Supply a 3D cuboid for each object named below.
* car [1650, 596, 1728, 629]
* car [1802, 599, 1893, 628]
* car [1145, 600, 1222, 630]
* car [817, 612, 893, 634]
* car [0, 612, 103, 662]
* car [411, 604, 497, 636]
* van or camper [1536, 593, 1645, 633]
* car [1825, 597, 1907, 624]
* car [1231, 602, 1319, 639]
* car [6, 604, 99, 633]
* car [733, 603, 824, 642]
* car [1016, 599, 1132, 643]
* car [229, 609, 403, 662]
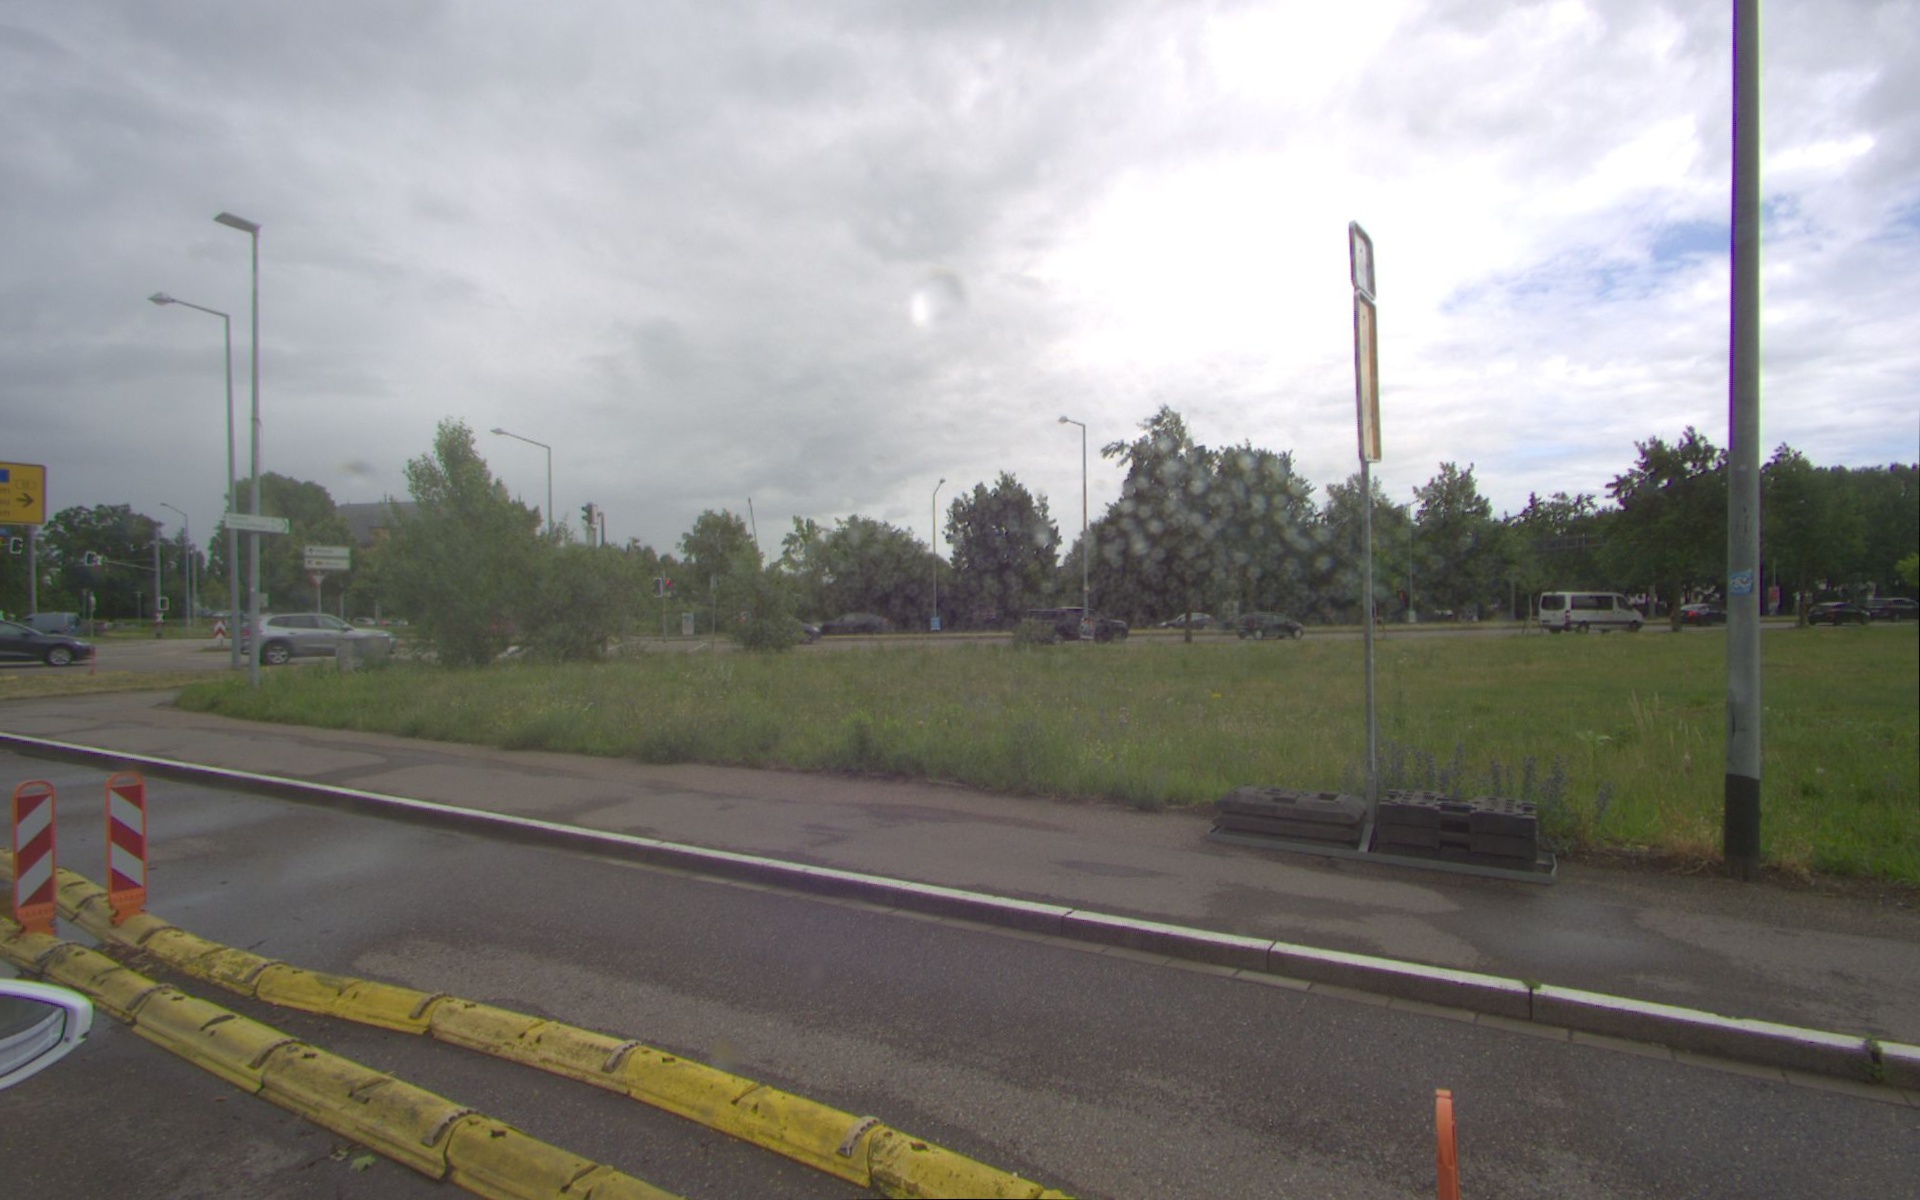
[{"bbox_3d":[46.133,0.798,63.365,3.928,2.040,1.997,0,0,-15],"label":"car"},{"bbox_3d":[57.339,0.871,64.714,4.522,1.819,2.114,0,0,-11],"label":"car"},{"bbox_3d":[15.521,1.034,69.564,4.849,2.040,1.998,0,0,-12],"label":"car"},{"bbox_3d":[-6.672,1.456,63.483,4.667,1.314,1.998,0,0,-12],"label":"car"},{"bbox_3d":[-29.230,1.114,30.649,1.976,1.483,4.289,0,0,40],"label":"car"},{"bbox_3d":[-32.114,1.259,63.572,4.804,1.943,2.111,0,0,19],"label":"car"},{"bbox_3d":[34.825,0.710,55.311,5.453,2.143,1.997,0,0,-16],"label":"van or camper"},{"bbox_3d":[63.009,0.716,69.652,4.525,1.819,2.112,0,0,-15],"label":"car"},{"bbox_3d":[16.545,1.071,52.661,3.927,1.873,1.997,0,0,-14],"label":"car"},{"bbox_3d":[-63.997,1.285,70.724,4.400,2.040,1.996,0,0,-18],"label":"car"},{"bbox_3d":[-8.926,1.084,49.153,4.134,1.837,2.074,0,0,-18],"label":"car"},{"bbox_3d":[5.345,0.959,47.129,4.957,1.998,2.218,0,0,-21],"label":"car"},{"bbox_3d":[-21.104,1.101,32.957,1.979,1.604,4.491,0,0,43],"label":"car"}]
